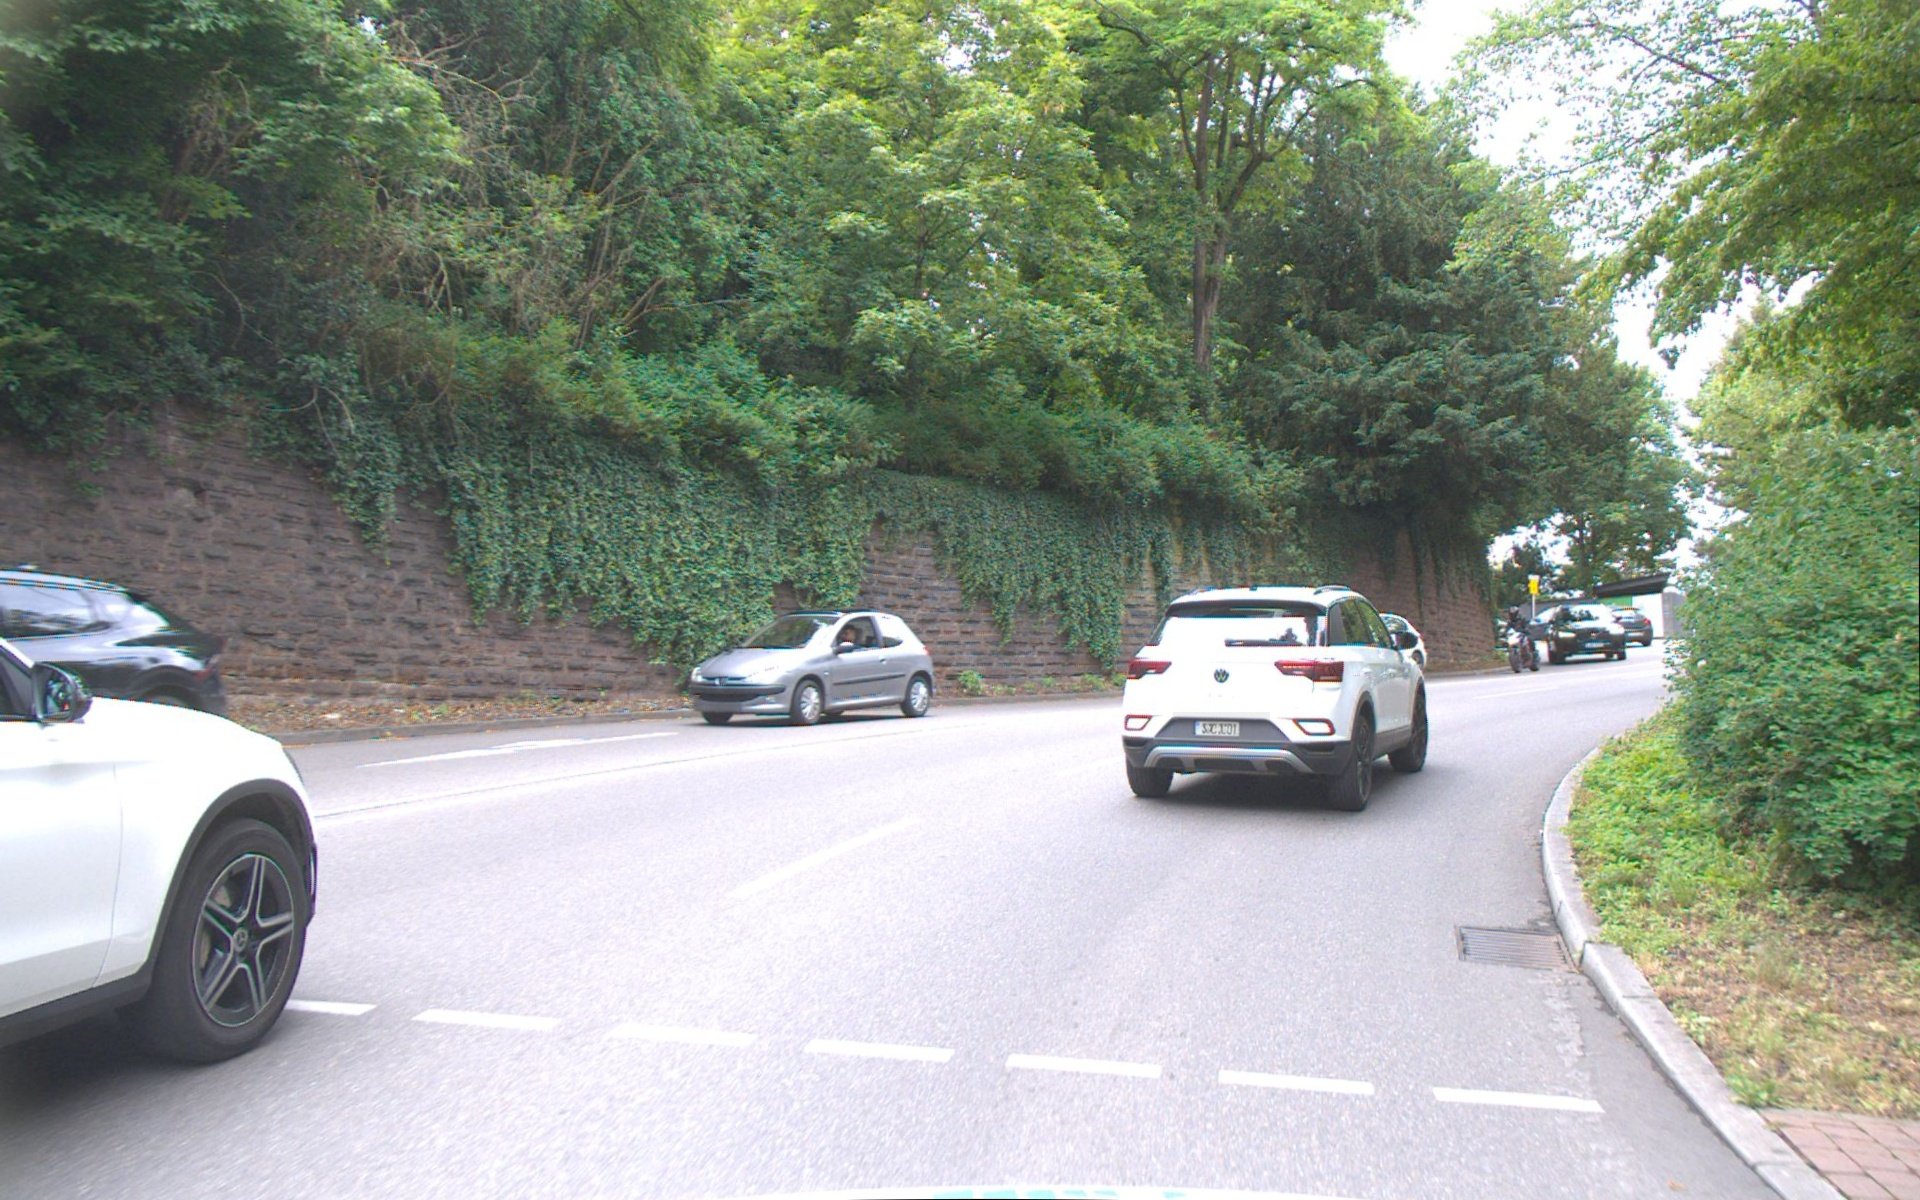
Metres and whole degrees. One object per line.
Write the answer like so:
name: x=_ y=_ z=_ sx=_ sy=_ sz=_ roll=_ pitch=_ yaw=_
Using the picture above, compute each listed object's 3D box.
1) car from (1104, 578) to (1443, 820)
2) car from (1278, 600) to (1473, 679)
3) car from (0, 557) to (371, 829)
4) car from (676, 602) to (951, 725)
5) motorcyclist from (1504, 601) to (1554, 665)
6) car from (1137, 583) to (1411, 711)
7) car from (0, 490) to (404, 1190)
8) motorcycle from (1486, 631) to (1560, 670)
car: x=2.674 y=0.637 z=13.213 sx=1.719 sy=1.580 sz=4.335 roll=1 pitch=1 yaw=24
car: x=8.620 y=0.803 z=34.152 sx=4.290 sy=1.441 sz=1.726 roll=0 pitch=-4 yaw=-41
car: x=-5.961 y=0.556 z=10.782 sx=1.597 sy=1.570 sz=4.399 roll=-1 pitch=-1 yaw=19
car: x=-1.814 y=0.773 z=21.478 sx=1.578 sy=1.443 sz=3.743 roll=-1 pitch=-1 yaw=34
motorcyclist: x=14.136 y=0.820 z=41.080 sx=0.736 sy=1.556 sz=1.088 roll=-5 pitch=-4 yaw=43
car: x=4.402 y=0.597 z=22.582 sx=1.833 sy=1.561 sz=4.758 roll=-1 pitch=-1 yaw=36
car: x=-3.140 y=0.518 z=3.652 sx=1.820 sy=1.633 sz=4.674 roll=3 pitch=0 yaw=5
motorcycle: x=13.907 y=1.238 z=40.809 sx=0.797 sy=0.905 sz=2.413 roll=-5 pitch=-3 yaw=43
